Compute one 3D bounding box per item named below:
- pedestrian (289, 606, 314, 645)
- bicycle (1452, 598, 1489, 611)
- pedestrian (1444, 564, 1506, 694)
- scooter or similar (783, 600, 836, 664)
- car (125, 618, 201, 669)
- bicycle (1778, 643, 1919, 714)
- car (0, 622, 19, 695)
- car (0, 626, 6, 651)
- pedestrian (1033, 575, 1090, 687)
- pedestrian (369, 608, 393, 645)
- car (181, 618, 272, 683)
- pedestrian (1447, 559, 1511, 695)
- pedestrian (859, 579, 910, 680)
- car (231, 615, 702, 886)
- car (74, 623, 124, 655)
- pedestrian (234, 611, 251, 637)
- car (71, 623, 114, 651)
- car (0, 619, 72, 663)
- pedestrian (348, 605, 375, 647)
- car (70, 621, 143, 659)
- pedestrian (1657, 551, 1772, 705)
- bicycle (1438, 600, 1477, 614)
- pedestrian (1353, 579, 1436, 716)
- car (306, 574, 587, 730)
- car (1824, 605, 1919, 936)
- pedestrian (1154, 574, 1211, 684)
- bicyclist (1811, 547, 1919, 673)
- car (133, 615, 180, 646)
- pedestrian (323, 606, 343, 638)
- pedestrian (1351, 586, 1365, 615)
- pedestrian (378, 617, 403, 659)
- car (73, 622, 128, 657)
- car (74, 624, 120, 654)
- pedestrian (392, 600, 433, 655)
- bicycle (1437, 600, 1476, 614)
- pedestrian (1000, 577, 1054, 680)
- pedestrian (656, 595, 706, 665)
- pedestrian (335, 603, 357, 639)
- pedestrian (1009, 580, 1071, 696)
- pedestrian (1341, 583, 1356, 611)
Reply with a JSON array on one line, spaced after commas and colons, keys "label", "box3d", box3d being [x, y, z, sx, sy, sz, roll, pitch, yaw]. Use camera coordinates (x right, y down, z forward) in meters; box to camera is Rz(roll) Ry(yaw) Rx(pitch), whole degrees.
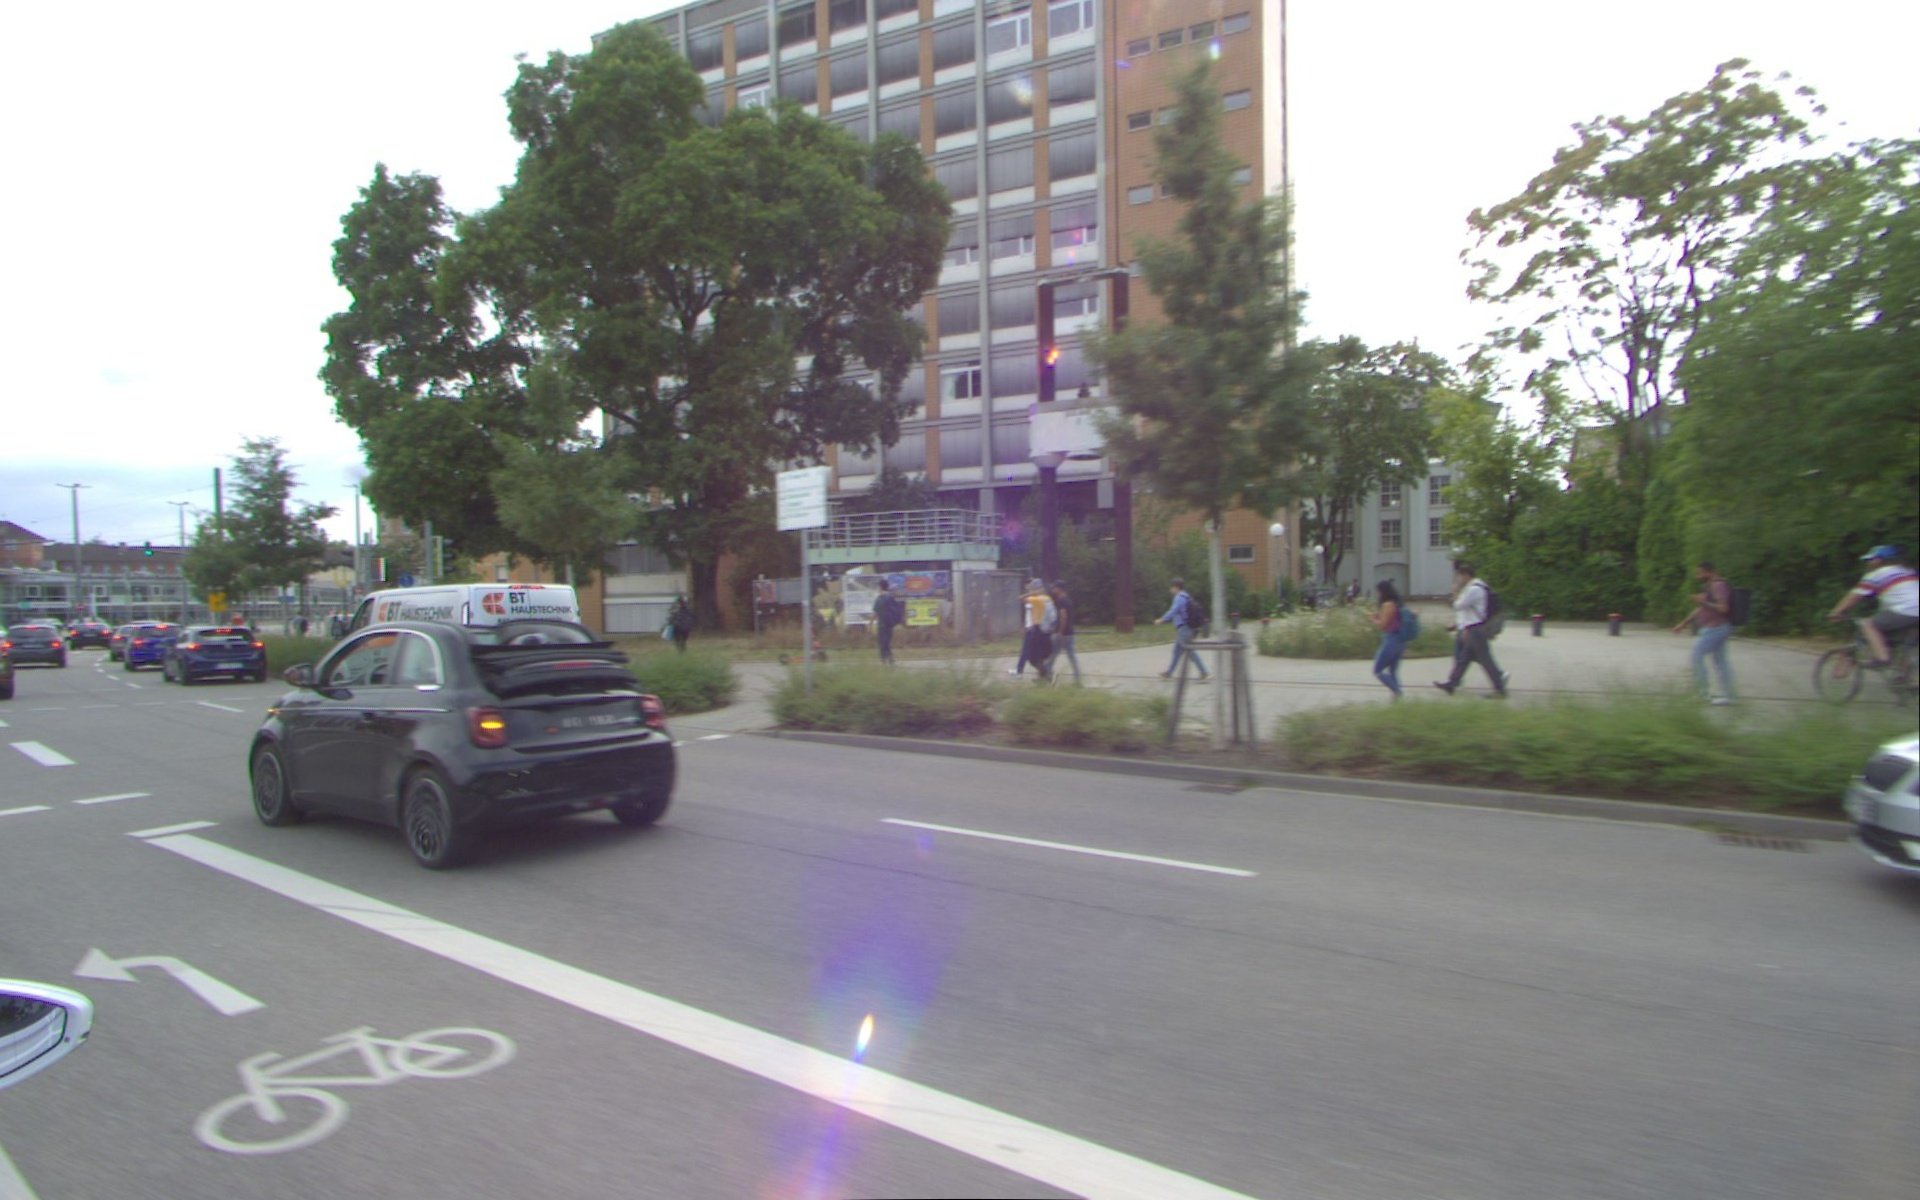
[{"label": "pedestrian", "box3d": [-27.159, 1.040, 41.293, 0.770, 1.595, 0.807, -3, 2, -35]}, {"label": "bicycle", "box3d": [29.517, 0.288, 57.870, 1.822, 0.703, 0.648, -1, -2, 38]}, {"label": "pedestrian", "box3d": [7.087, 0.397, 13.781, 0.698, 1.733, 0.637, -1, -1, 32]}, {"label": "scooter or similar", "box3d": [-3.364, 0.716, 22.356, 1.128, 1.388, 0.398, -1, -1, 20]}, {"label": "car", "box3d": [-26.147, 1.401, 32.814, 1.843, 1.552, 3.969, 1, -2, -40]}, {"label": "bicycle", "box3d": [10.117, 0.827, 10.929, 0.827, 0.702, 1.846, 0, -2, -2]}, {"label": "car", "box3d": [-20.441, 1.159, 20.038, 3.651, 1.422, 1.690, -1, -2, 36]}, {"label": "car", "box3d": [-55.923, 2.208, 57.322, 1.698, 1.438, 3.966, 1, -2, -40]}, {"label": "pedestrian", "box3d": [1.618, 0.491, 15.966, 0.698, 1.733, 0.637, -1, -1, 32]}, {"label": "pedestrian", "box3d": [-25.317, 1.152, 43.794, 0.770, 1.595, 0.807, -3, 2, -35]}, {"label": "car", "box3d": [-18.705, 1.254, 25.477, 1.653, 1.527, 3.604, 1, -2, -40]}, {"label": "pedestrian", "box3d": [6.823, 0.358, 13.160, 0.698, 1.733, 0.637, -1, -1, 32]}, {"label": "pedestrian", "box3d": [-1.440, 0.543, 19.052, 0.698, 1.877, 0.636, -1, 1, 32]}, {"label": "car", "box3d": [-3.646, 0.882, 7.251, 3.395, 1.509, 1.661, -1, -1, 35]}, {"label": "car", "box3d": [-40.480, 1.843, 47.126, 1.698, 1.438, 3.966, 1, -2, -40]}, {"label": "pedestrian", "box3d": [-45.198, 1.531, 63.098, 0.770, 1.595, 0.807, -3, 2, -35]}, {"label": "car", "box3d": [-47.250, 2.014, 54.573, 1.698, 1.438, 3.966, 1, -2, -40]}, {"label": "car", "box3d": [-32.218, 1.428, 34.988, 1.698, 1.438, 3.966, 1, -2, -40]}, {"label": "pedestrian", "box3d": [-23.113, 0.994, 38.668, 0.770, 1.595, 0.807, -3, 2, -35]}, {"label": "car", "box3d": [-33.940, 1.592, 39.859, 2.116, 1.438, 3.669, 1, -2, -41]}, {"label": "pedestrian", "box3d": [8.912, 0.337, 11.879, 0.998, 1.733, 0.835, -1, -1, 32]}, {"label": "bicycle", "box3d": [27.369, 0.402, 55.069, 1.822, 0.703, 0.648, -1, -2, 38]}, {"label": "pedestrian", "box3d": [5.281, 0.557, 12.165, 0.788, 1.564, 0.834, -1, 3, 32]}, {"label": "car", "box3d": [-7.837, 0.742, 15.053, 5.141, 1.984, 1.813, -1, -2, 38]}, {"label": "car", "box3d": [6.659, 0.751, 4.107, 4.464, 1.493, 1.816, -1, -2, 33]}, {"label": "pedestrian", "box3d": [3.600, 0.456, 16.181, 0.698, 1.734, 0.636, -1, 2, 32]}, {"label": "bicyclist", "box3d": [10.085, 0.118, 10.868, 0.823, 1.293, 1.013, 0, -1, -1]}, {"label": "car", "box3d": [-39.564, 1.510, 49.291, 1.691, 1.438, 3.669, 1, -2, -40]}, {"label": "pedestrian", "box3d": [-32.239, 1.124, 51.452, 0.770, 1.595, 0.807, -3, 2, -35]}, {"label": "pedestrian", "box3d": [24.109, 0.028, 60.651, 0.632, 1.733, 0.703, -1, 0, 37]}, {"label": "pedestrian", "box3d": [-22.585, 1.499, 39.709, 0.770, 1.595, 0.807, -3, 2, -35]}, {"label": "car", "box3d": [-36.910, 1.702, 43.043, 1.698, 1.438, 3.966, 1, -2, -40]}, {"label": "car", "box3d": [-44.171, 1.987, 51.283, 1.698, 1.438, 3.320, 1, -2, -41]}, {"label": "pedestrian", "box3d": [-17.714, 0.890, 32.406, 1.013, 1.733, 0.776, -1, -1, 32]}, {"label": "bicycle", "box3d": [26.656, 0.361, 53.786, 1.822, 0.703, 0.648, -1, -2, 38]}, {"label": "pedestrian", "box3d": [1.168, 0.490, 17.380, 0.698, 1.733, 0.636, -1, 0, 32]}, {"label": "pedestrian", "box3d": [-6.651, 0.706, 23.901, 0.801, 1.595, 0.776, -1, 2, 32]}, {"label": "pedestrian", "box3d": [-28.061, 0.955, 45.785, 0.770, 1.595, 0.807, -3, 2, -35]}, {"label": "pedestrian", "box3d": [1.233, 0.567, 15.361, 0.698, 1.734, 0.636, -1, 1, 32]}, {"label": "pedestrian", "box3d": [24.025, -0.165, 61.918, 0.632, 1.733, 0.703, -1, 0, 37]}]
